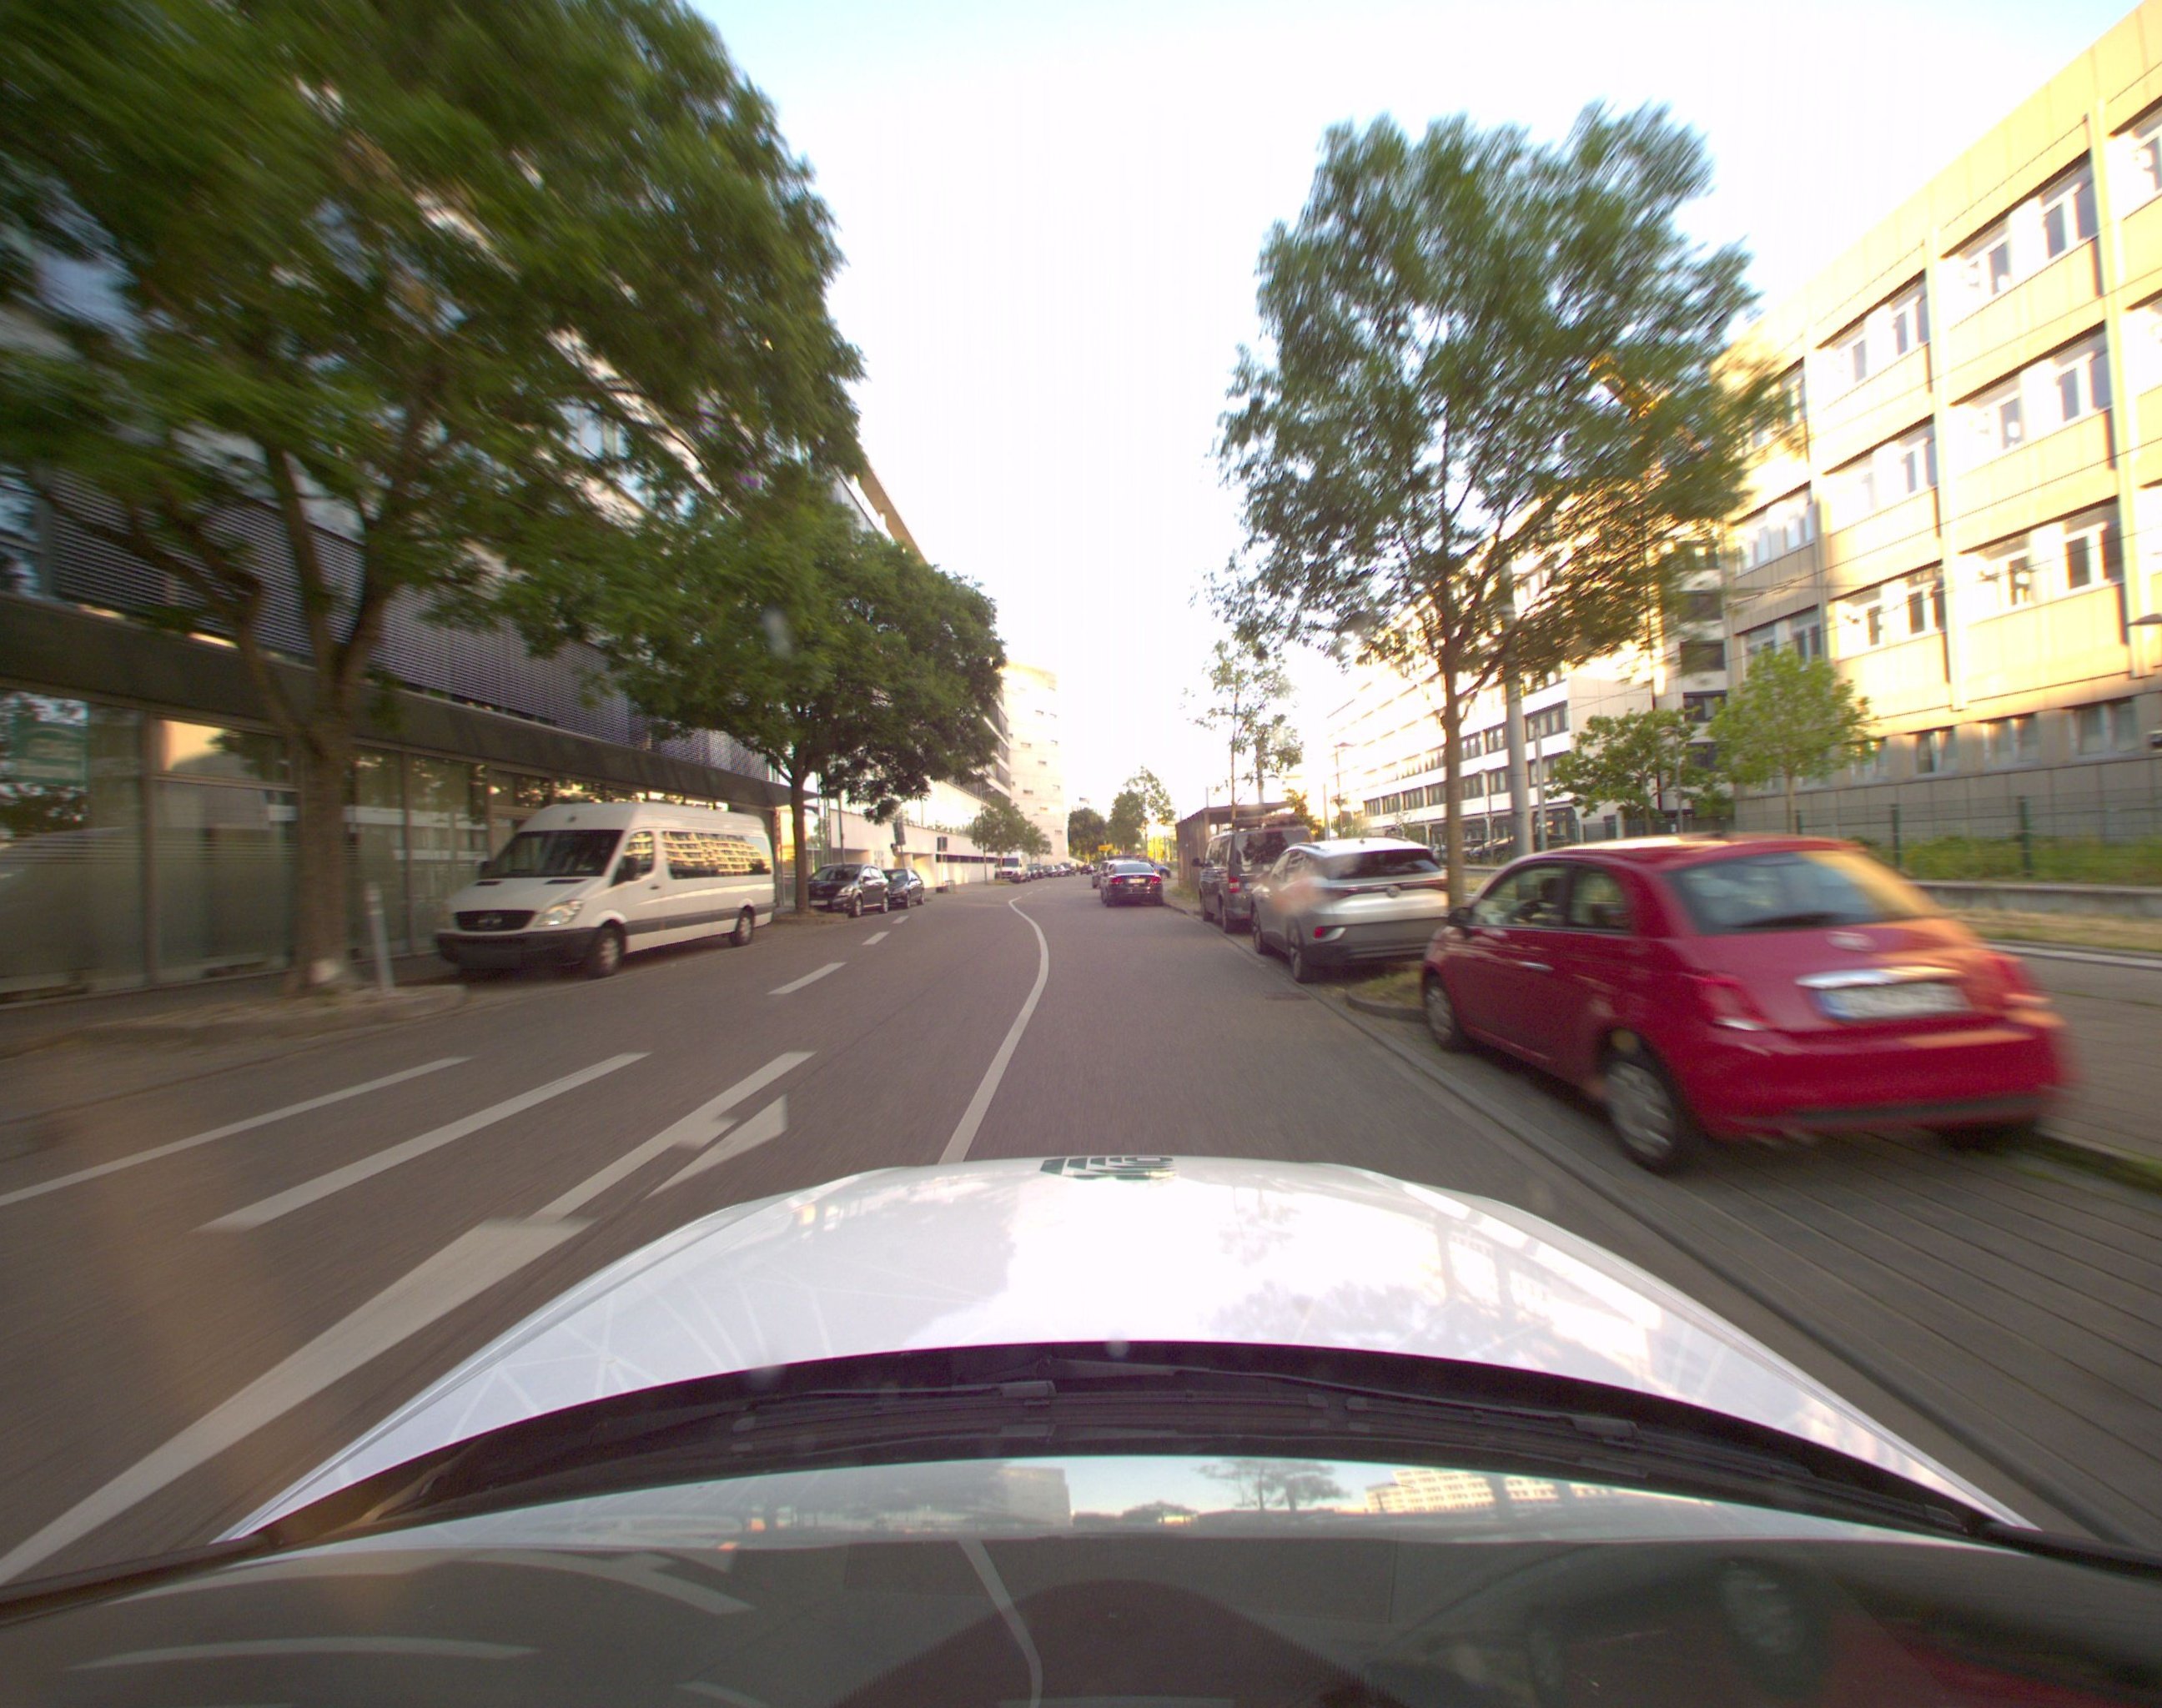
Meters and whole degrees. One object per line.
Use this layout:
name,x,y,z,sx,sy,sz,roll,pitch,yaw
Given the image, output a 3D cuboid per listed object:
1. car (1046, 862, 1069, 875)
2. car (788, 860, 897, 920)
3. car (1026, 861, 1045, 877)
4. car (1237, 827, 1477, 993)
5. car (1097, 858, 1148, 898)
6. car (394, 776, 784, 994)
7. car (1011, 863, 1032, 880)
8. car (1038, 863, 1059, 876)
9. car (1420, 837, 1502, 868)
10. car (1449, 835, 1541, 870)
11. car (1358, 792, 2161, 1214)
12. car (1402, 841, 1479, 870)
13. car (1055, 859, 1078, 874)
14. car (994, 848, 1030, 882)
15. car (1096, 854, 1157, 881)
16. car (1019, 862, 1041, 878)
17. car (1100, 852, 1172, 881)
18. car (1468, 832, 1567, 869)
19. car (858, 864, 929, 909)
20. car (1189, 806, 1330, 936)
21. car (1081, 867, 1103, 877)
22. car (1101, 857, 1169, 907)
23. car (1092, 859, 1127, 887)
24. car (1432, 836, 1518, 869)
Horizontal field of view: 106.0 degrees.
car,-2.911,1.795,101.545,1.711,1.457,4.709,-1,0,12
car,-7.027,1.010,24.430,1.837,1.571,4.269,-2,0,2
car,-4.863,1.604,87.815,1.750,1.653,3.949,0,0,1
car,3.252,0.594,10.597,1.700,1.580,4.482,-4,-1,3
car,1.610,0.918,32.847,1.671,1.452,4.185,-2,-1,-1
car,-7.465,0.406,13.724,2.092,2.664,6.954,-2,0,2
car,-5.284,1.572,72.713,1.752,1.439,3.897,0,0,-3
car,-3.857,1.765,95.971,1.713,1.457,4.281,-1,0,8
car,22.427,-0.064,48.118,3.972,1.487,1.676,-5,-1,2
car,22.073,-0.072,43.552,3.972,1.487,1.676,-5,-1,2
car,3.340,0.592,5.195,1.702,1.493,4.131,-4,-1,1
car,22.535,0.115,51.117,3.974,1.513,1.824,-4,0,0
car,-1.846,1.633,106.612,1.743,1.798,4.483,-1,0,17
car,-5.546,0.863,66.326,1.950,2.617,6.898,-1,0,3
car,3.653,1.079,64.839,4.620,2.035,1.852,-1,-1,-32
car,-5.045,1.577,81.418,1.749,1.561,4.045,0,0,2
car,3.425,0.780,50.567,4.016,1.520,1.907,-3,-2,-34
car,22.005,-0.166,41.148,3.972,1.487,1.676,-5,-1,2
car,-6.766,1.140,29.846,1.711,1.452,4.394,-2,0,-3
car,3.485,0.333,16.827,1.798,2.176,4.736,-4,-1,1
car,1.540,2.566,116.639,1.928,1.382,4.419,-1,0,18
car,1.687,0.857,26.919,1.782,1.452,4.512,-2,0,-2
car,1.517,1.047,44.457,1.726,1.466,3.998,0,-1,0
car,22.156,-0.057,45.921,3.972,1.487,1.676,-5,-1,2
